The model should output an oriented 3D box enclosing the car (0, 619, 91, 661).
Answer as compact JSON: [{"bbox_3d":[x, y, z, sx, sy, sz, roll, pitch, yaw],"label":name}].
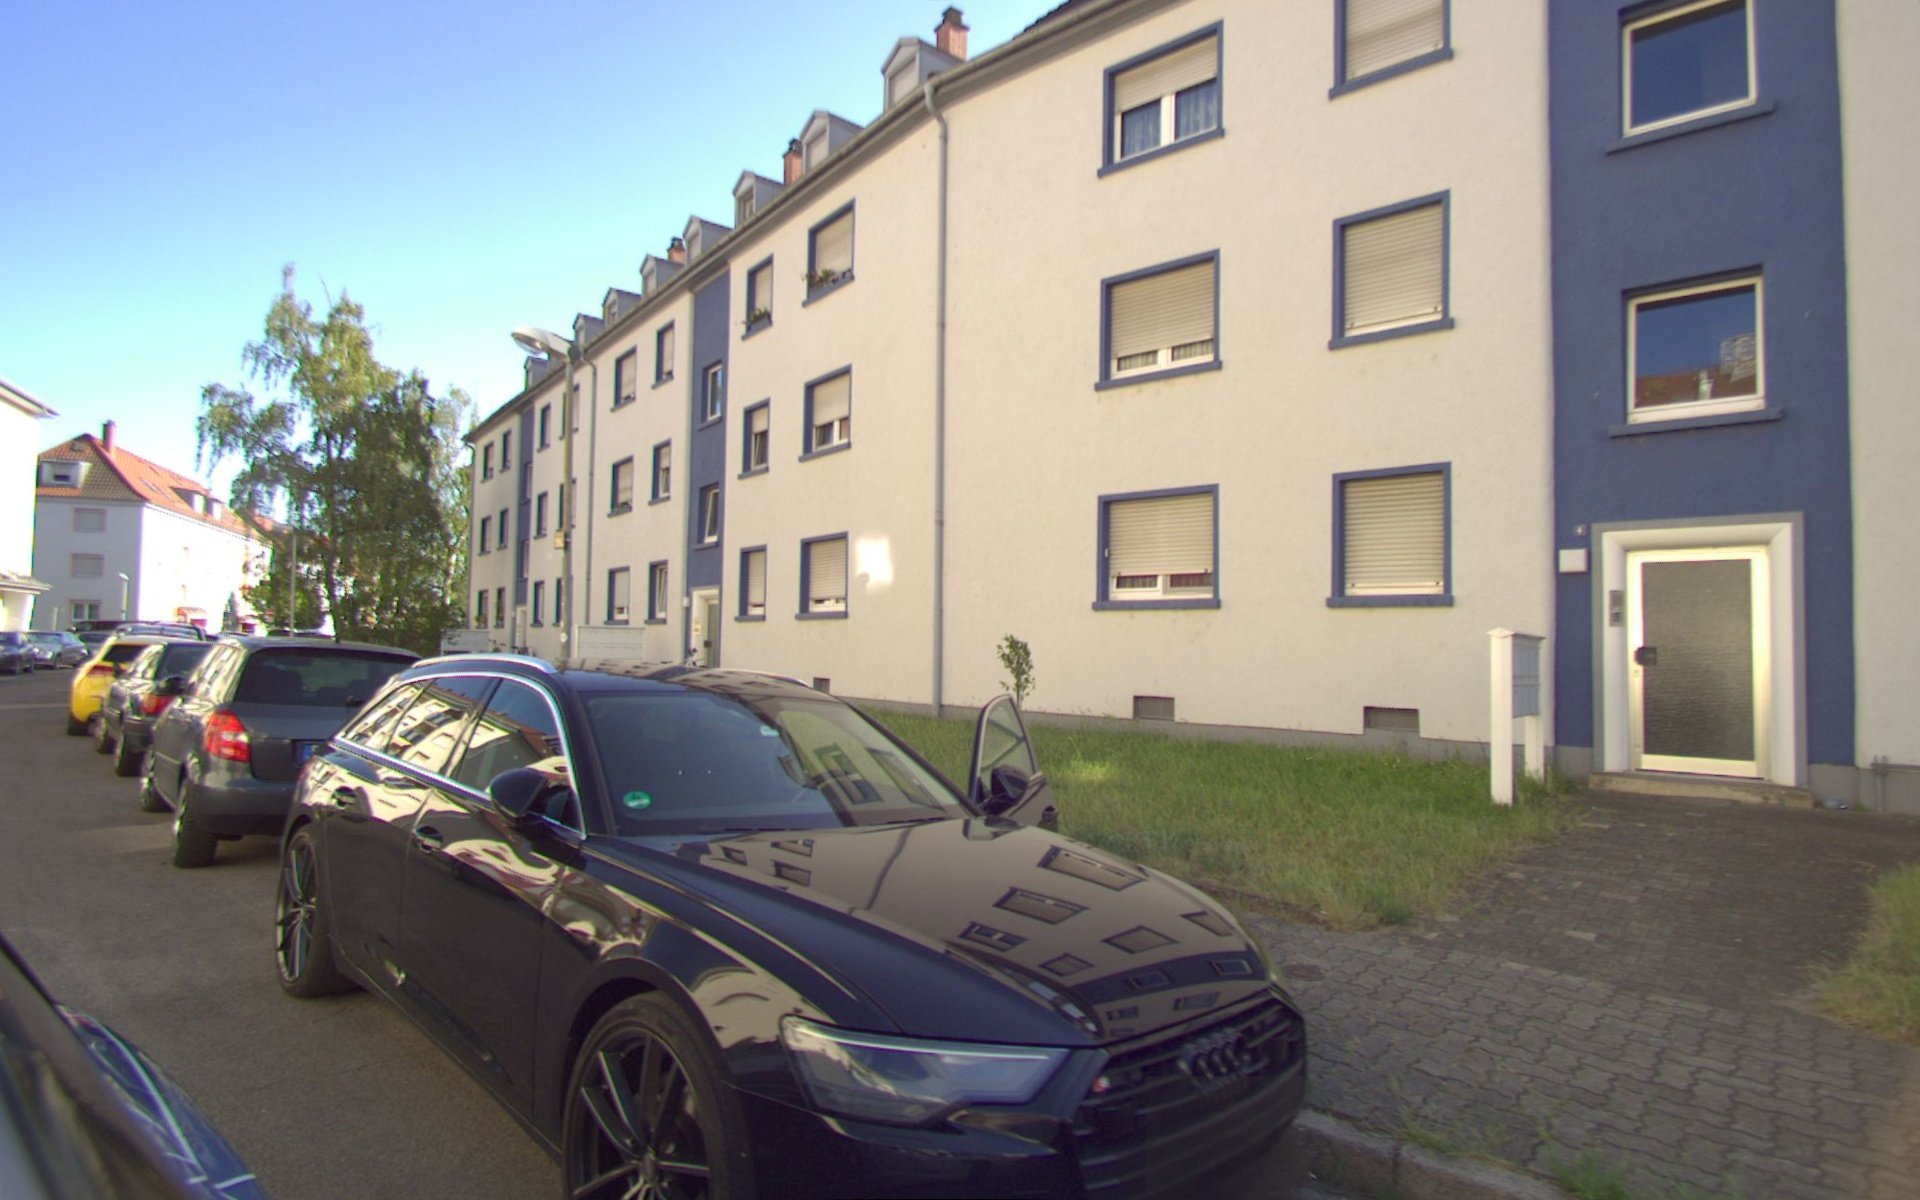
[{"bbox_3d":[-34.805,1.466,38.478,1.654,1.458,4.739,0,-1,-28],"label":"car"}]

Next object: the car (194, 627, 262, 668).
[{"bbox_3d":[-29.350,1.889,40.706,1.655,1.453,4.293,6,-5,-30],"label":"car"}]

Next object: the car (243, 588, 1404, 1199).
[{"bbox_3d":[-1.043,0.812,3.735,4.600,1.442,1.724,-1,-6,44],"label":"car"}]

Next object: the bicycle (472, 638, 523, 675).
[{"bbox_3d":[-14.946,1.839,32.719,1.390,1.161,0.416,5,-4,-39],"label":"bicycle"}]

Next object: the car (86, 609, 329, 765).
[{"bbox_3d":[-8.800,0.938,11.689,1.551,1.476,4.264,6,-6,-45],"label":"car"}]

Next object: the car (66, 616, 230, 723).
[{"bbox_3d":[-12.454,1.037,15.487,1.673,1.400,4.163,5,-5,-40],"label":"car"}]

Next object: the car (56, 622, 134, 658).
[{"bbox_3d":[-37.469,1.694,43.962,1.654,1.418,4.560,0,-1,-29],"label":"car"}]

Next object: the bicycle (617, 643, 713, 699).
[{"bbox_3d":[-6.072,1.443,20.867,1.795,1.086,0.570,0,-2,-32],"label":"bicycle"}]

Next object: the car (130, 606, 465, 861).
[{"bbox_3d":[-5.224,0.867,7.783,1.461,1.488,3.635,6,-5,-43],"label":"car"}]

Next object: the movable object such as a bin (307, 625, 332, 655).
[{"bbox_3d":[-30.862,1.925,48.775,0.765,1.403,1.422,3,-3,-24],"label":"movable object such as a bin"}]

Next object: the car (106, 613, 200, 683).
[{"bbox_3d":[-19.840,1.128,24.944,1.672,1.572,4.165,1,-2,-38],"label":"car"}]

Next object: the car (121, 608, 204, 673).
[{"bbox_3d":[-23.754,1.191,30.250,1.534,1.727,4.348,7,-5,-35],"label":"car"}]

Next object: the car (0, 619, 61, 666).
[{"bbox_3d":[-31.518,1.369,33.269,1.670,1.442,4.703,0,-1,-25],"label":"car"}]

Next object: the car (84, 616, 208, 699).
[{"bbox_3d":[-16.190,1.122,20.253,1.672,1.456,4.028,6,-5,-37],"label":"car"}]

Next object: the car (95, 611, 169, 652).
[{"bbox_3d":[-40.059,1.540,49.065,1.722,1.838,4.144,4,-4,-26],"label":"car"}]

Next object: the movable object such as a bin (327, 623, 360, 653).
[{"bbox_3d":[-29.479,1.834,48.403,1.203,1.391,0.769,1,-3,-19],"label":"movable object such as a bin"}]
